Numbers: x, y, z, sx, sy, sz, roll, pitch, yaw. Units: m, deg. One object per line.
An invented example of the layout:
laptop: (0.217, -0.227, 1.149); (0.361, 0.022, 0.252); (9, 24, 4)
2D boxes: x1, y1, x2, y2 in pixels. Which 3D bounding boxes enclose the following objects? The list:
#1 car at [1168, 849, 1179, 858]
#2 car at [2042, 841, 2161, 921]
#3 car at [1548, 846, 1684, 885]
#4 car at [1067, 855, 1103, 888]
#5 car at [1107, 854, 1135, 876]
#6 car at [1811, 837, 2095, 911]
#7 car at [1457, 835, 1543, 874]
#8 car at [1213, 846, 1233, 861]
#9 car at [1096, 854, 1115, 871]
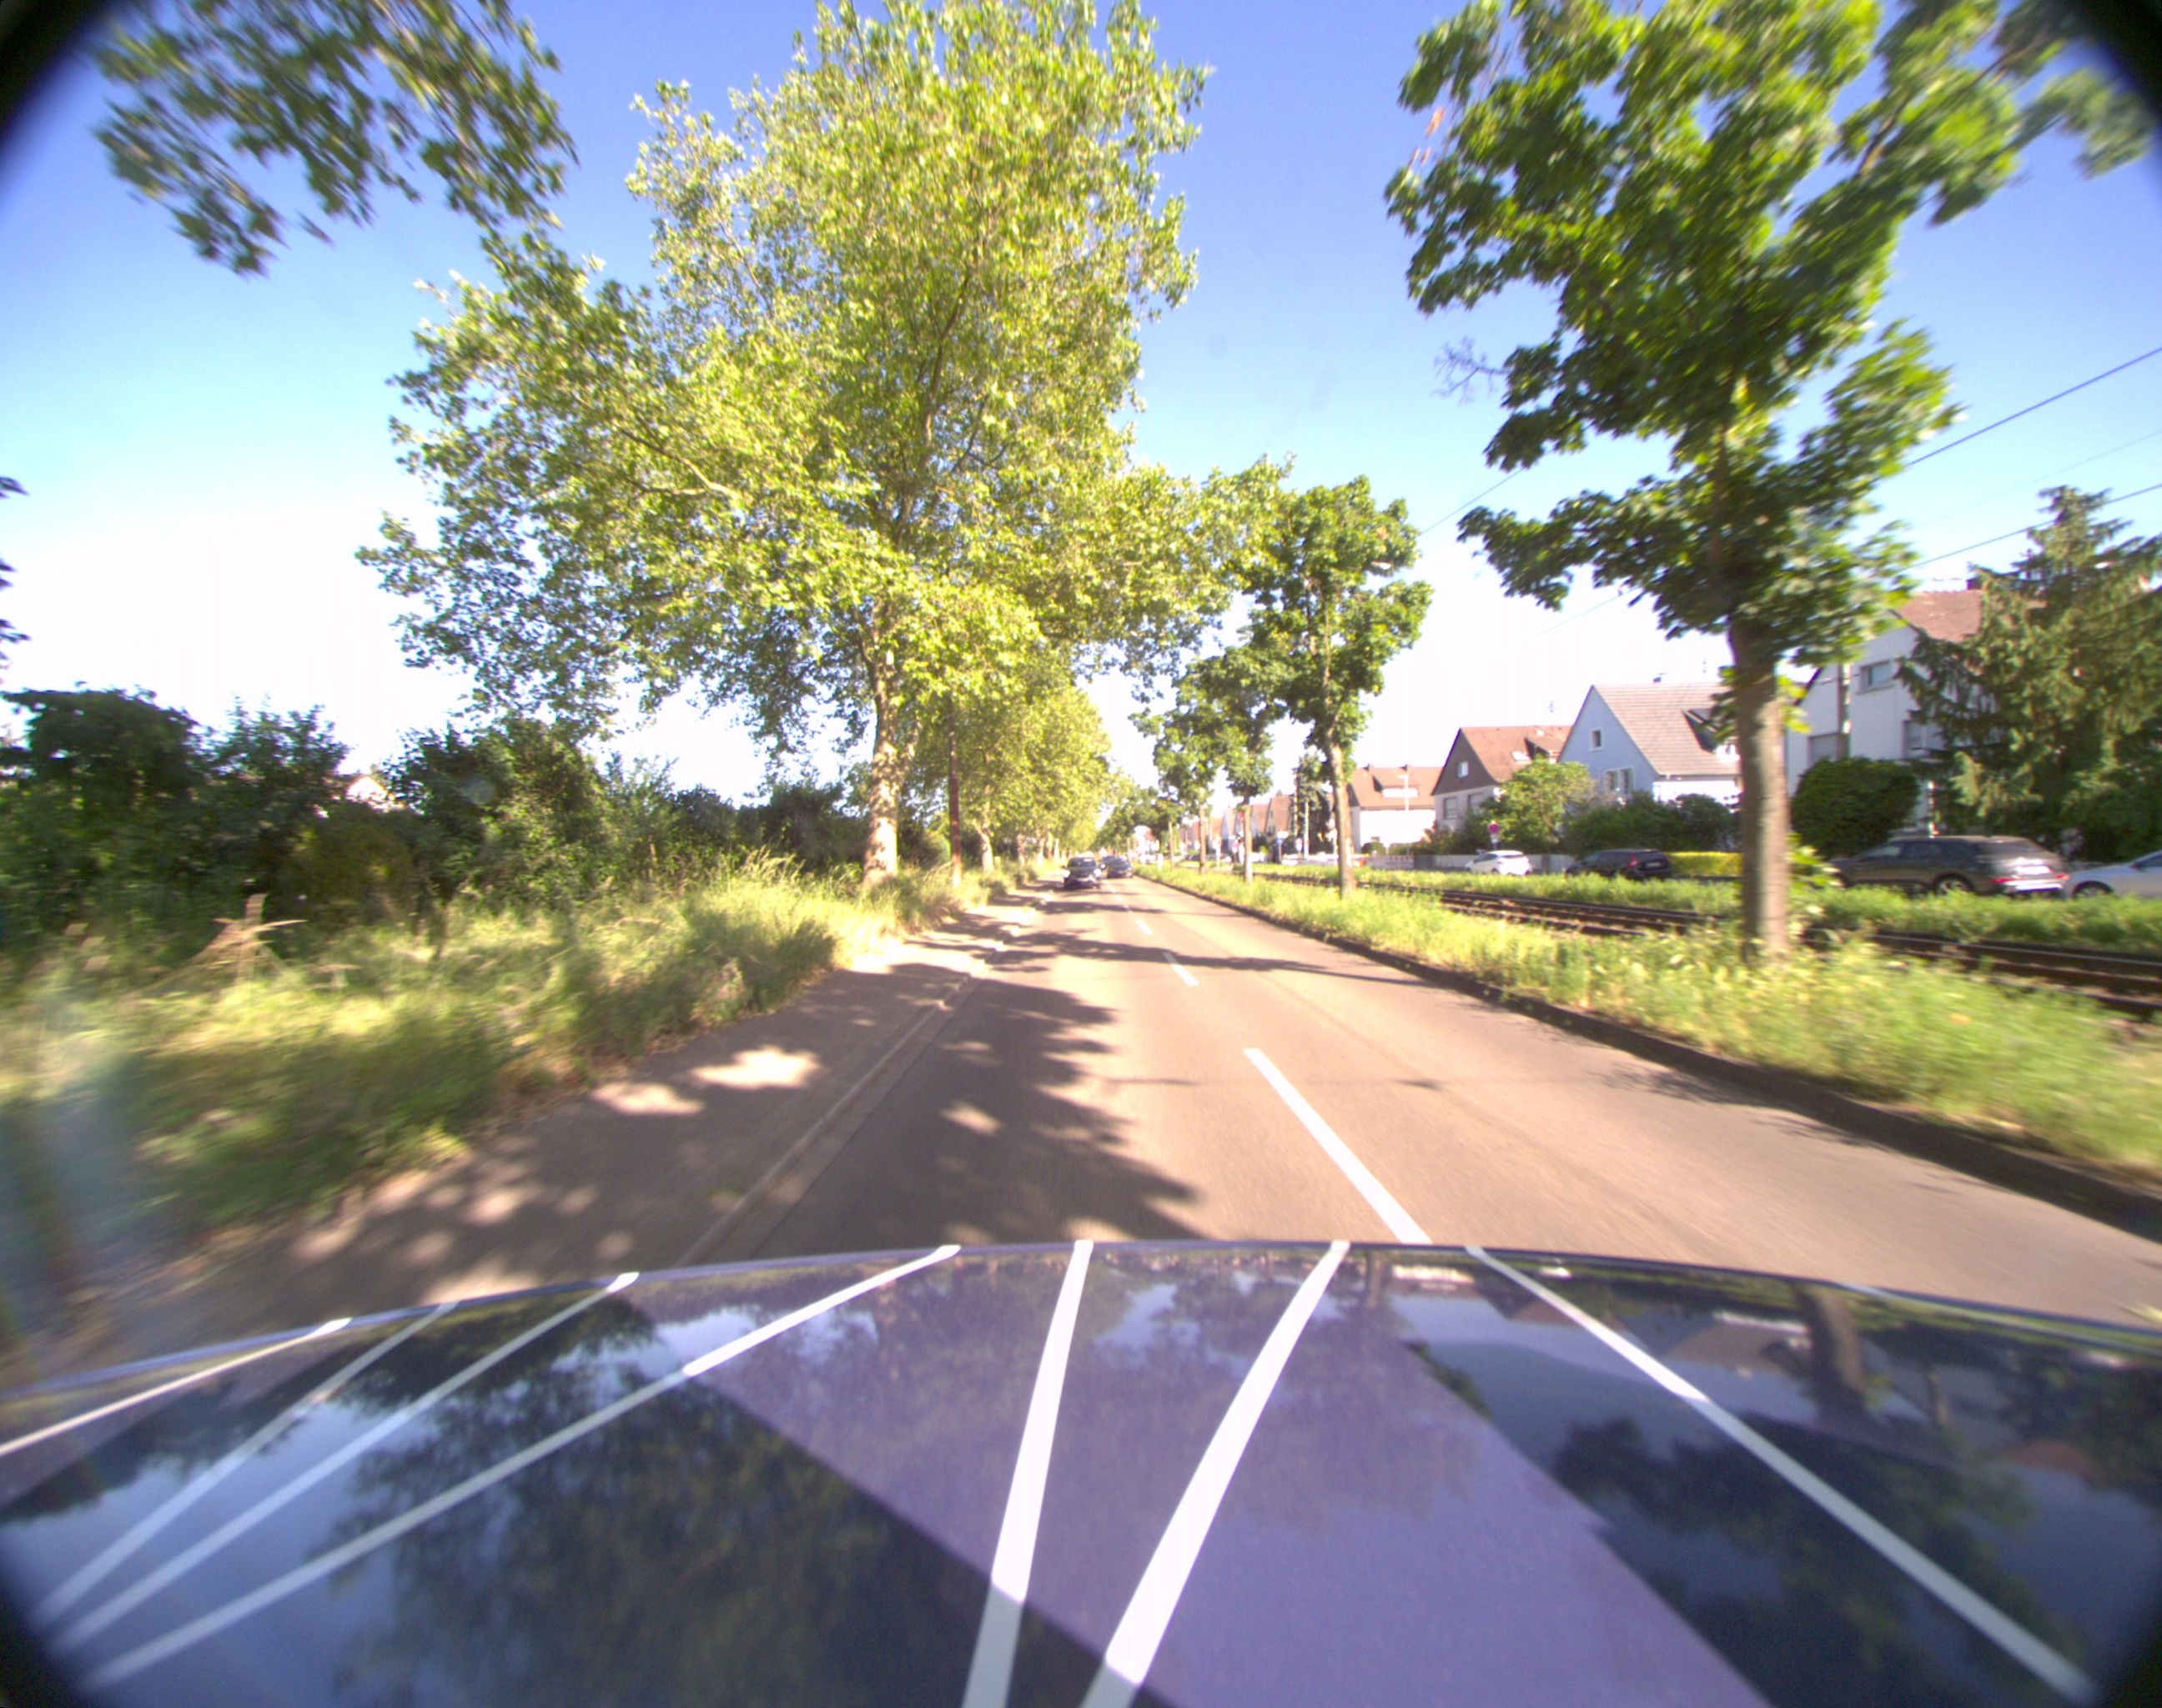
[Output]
car: (17.842, -0.067, 146.450); (1.731, 1.581, 4.001); (-1, 0, 3)
car: (21.636, 0.513, 13.948); (1.888, 1.464, 4.838); (-3, 0, 1)
car: (21.259, 0.406, 30.508); (1.998, 1.333, 4.981); (-2, 1, 1)
car: (0.158, 0.820, 37.375); (1.673, 1.529, 3.585); (-1, 0, -1)
car: (2.830, 0.733, 54.107); (1.780, 1.441, 4.334); (-1, 0, 0)
car: (21.381, 0.427, 19.001); (1.888, 1.552, 4.536); (-3, 0, 0)
car: (21.672, 0.016, 39.549); (1.998, 1.852, 4.584); (-1, 0, 1)
car: (17.334, -0.080, 92.806); (1.786, 1.674, 4.000); (-1, 0, 1)
car: (2.502, 0.857, 77.564); (1.780, 1.620, 4.288); (-1, 0, 0)
